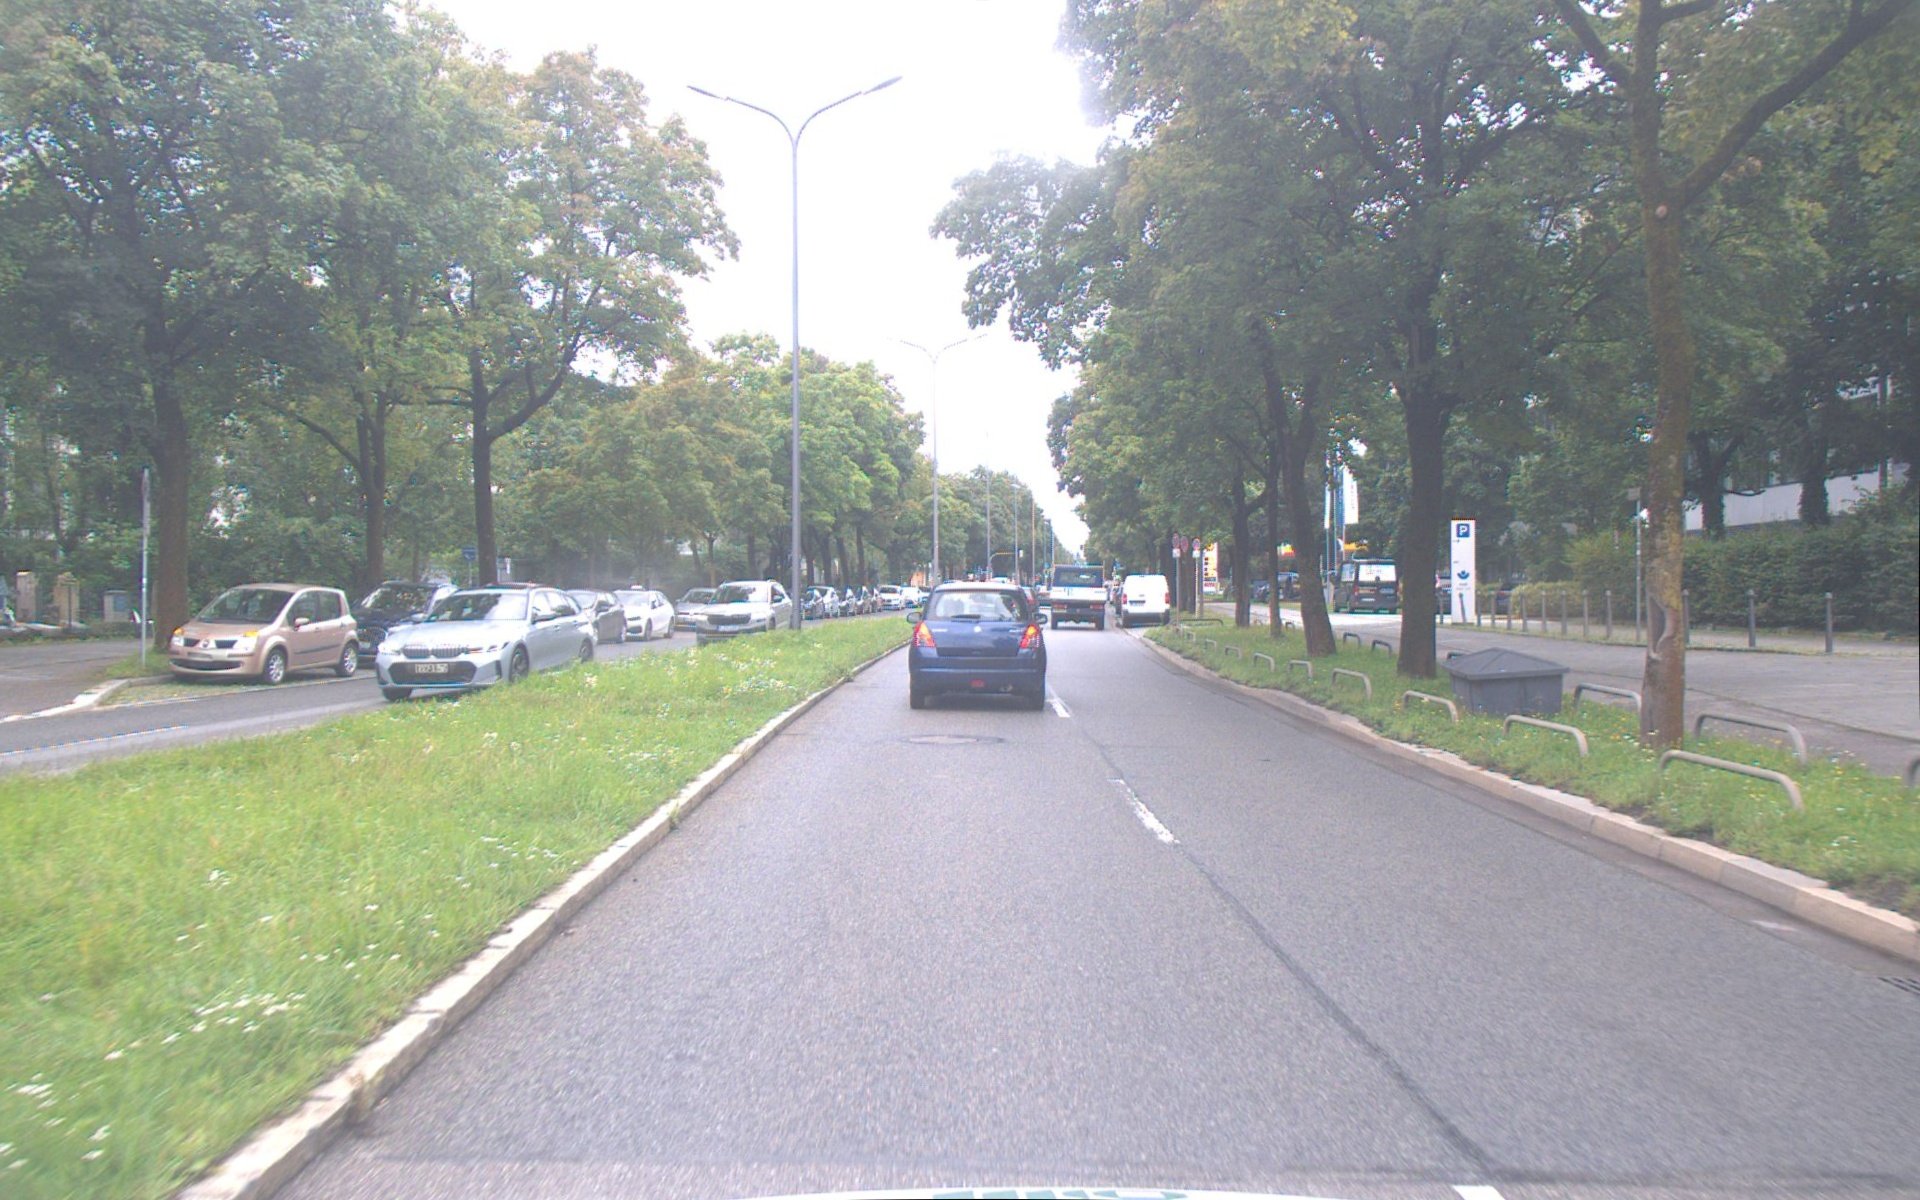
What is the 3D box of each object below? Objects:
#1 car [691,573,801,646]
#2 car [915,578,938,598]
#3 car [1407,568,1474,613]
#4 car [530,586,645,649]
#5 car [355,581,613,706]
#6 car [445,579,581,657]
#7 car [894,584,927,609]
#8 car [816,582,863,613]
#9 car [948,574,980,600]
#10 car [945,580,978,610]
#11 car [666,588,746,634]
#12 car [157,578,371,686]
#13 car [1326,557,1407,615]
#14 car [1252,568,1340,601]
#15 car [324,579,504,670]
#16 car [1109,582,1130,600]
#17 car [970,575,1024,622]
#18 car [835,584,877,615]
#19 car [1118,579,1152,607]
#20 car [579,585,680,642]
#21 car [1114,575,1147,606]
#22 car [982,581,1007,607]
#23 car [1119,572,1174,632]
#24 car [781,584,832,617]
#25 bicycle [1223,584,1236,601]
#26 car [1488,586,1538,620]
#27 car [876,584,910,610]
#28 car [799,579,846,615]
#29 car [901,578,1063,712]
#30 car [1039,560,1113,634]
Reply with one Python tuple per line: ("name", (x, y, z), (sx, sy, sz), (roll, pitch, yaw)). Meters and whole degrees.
("car", (-5.124, 0.195, 40.179), (1.729, 1.653, 4.379), (-1, 0, 5))
("car", (-2.686, -0.968, 132.357), (1.655, 1.593, 3.081), (-1, 1, 3))
("car", (20.784, -0.412, 71.689), (1.803, 1.850, 4.474), (-1, 0, 3))
("car", (-9.846, 0.429, 44.017), (1.702, 1.508, 4.336), (2, 1, 5))
("car", (-6.401, 0.516, 22.864), (1.875, 1.510, 4.867), (-1, 0, 3))
("car", (-10.456, 0.366, 39.032), (1.702, 1.680, 4.608), (2, 1, 3))
("car", (-3.546, -0.273, 119.447), (1.793, 1.637, 4.494), (2, 1, 5))
("car", (-6.327, -0.161, 87.210), (1.680, 1.551, 5.037), (2, 1, 4))
("car", (0.277, -0.849, 109.506), (1.795, 1.671, 4.353), (-1, 0, 4))
("car", (0.145, -0.423, 129.524), (2.163, 2.232, 5.803), (-2, 0, 4))
("car", (-8.965, 0.354, 58.750), (1.700, 1.473, 4.825), (2, 1, 4))
("car", (-11.476, 0.475, 27.546), (1.612, 1.642, 3.822), (1, 1, 6))
("car", (17.446, -0.617, 71.372), (2.217, 2.347, 6.271), (-1, 0, 3))
("car", (21.761, -0.999, 107.348), (5.355, 2.120, 2.148), (0, 0, 4))
("car", (-10.863, 0.423, 33.302), (1.702, 1.672, 4.687), (1, 1, 5))
("car", (13.717, -0.793, 142.262), (1.723, 1.479, 4.636), (-2, 0, 5))
("car", (1.280, -0.056, 56.487), (1.762, 1.525, 3.661), (-1, 1, 2))
("car", (-5.826, -0.066, 92.783), (1.650, 1.625, 4.213), (2, 1, 5))
("car", (9.399, -0.414, 88.591), (1.665, 1.432, 4.516), (-1, 0, 7))
("car", (-9.634, 0.351, 48.585), (1.702, 1.556, 4.478), (1, 1, 5))
("car", (9.703, -0.566, 93.936), (1.774, 1.705, 4.803), (-1, 0, 7))
("car", (2.865, -0.508, 136.674), (1.743, 2.065, 4.821), (-1, 0, 4))
("car", (7.227, 0.034, 64.511), (1.945, 2.195, 5.559), (-1, 0, 5))
("car", (-7.169, 0.010, 77.554), (1.591, 1.448, 4.195), (2, 1, 6))
("bicycle", (19.232, -0.519, 117.959), (0.732, 1.203, 2.248), (0, 0, 5))
("car", (23.638, 0.102, 70.651), (1.746, 1.398, 3.964), (0, 1, 23))
("car", (-4.398, -0.206, 109.418), (1.720, 1.622, 4.492), (2, 1, 4))
("car", (-6.791, -0.178, 82.014), (1.591, 1.676, 3.870), (2, 1, 5))
("car", (0.310, 0.501, 20.948), (1.857, 1.525, 3.661), (0, 1, 2))
("car", (4.167, -0.132, 58.507), (2.367, 2.487, 5.090), (1, 1, 6))
